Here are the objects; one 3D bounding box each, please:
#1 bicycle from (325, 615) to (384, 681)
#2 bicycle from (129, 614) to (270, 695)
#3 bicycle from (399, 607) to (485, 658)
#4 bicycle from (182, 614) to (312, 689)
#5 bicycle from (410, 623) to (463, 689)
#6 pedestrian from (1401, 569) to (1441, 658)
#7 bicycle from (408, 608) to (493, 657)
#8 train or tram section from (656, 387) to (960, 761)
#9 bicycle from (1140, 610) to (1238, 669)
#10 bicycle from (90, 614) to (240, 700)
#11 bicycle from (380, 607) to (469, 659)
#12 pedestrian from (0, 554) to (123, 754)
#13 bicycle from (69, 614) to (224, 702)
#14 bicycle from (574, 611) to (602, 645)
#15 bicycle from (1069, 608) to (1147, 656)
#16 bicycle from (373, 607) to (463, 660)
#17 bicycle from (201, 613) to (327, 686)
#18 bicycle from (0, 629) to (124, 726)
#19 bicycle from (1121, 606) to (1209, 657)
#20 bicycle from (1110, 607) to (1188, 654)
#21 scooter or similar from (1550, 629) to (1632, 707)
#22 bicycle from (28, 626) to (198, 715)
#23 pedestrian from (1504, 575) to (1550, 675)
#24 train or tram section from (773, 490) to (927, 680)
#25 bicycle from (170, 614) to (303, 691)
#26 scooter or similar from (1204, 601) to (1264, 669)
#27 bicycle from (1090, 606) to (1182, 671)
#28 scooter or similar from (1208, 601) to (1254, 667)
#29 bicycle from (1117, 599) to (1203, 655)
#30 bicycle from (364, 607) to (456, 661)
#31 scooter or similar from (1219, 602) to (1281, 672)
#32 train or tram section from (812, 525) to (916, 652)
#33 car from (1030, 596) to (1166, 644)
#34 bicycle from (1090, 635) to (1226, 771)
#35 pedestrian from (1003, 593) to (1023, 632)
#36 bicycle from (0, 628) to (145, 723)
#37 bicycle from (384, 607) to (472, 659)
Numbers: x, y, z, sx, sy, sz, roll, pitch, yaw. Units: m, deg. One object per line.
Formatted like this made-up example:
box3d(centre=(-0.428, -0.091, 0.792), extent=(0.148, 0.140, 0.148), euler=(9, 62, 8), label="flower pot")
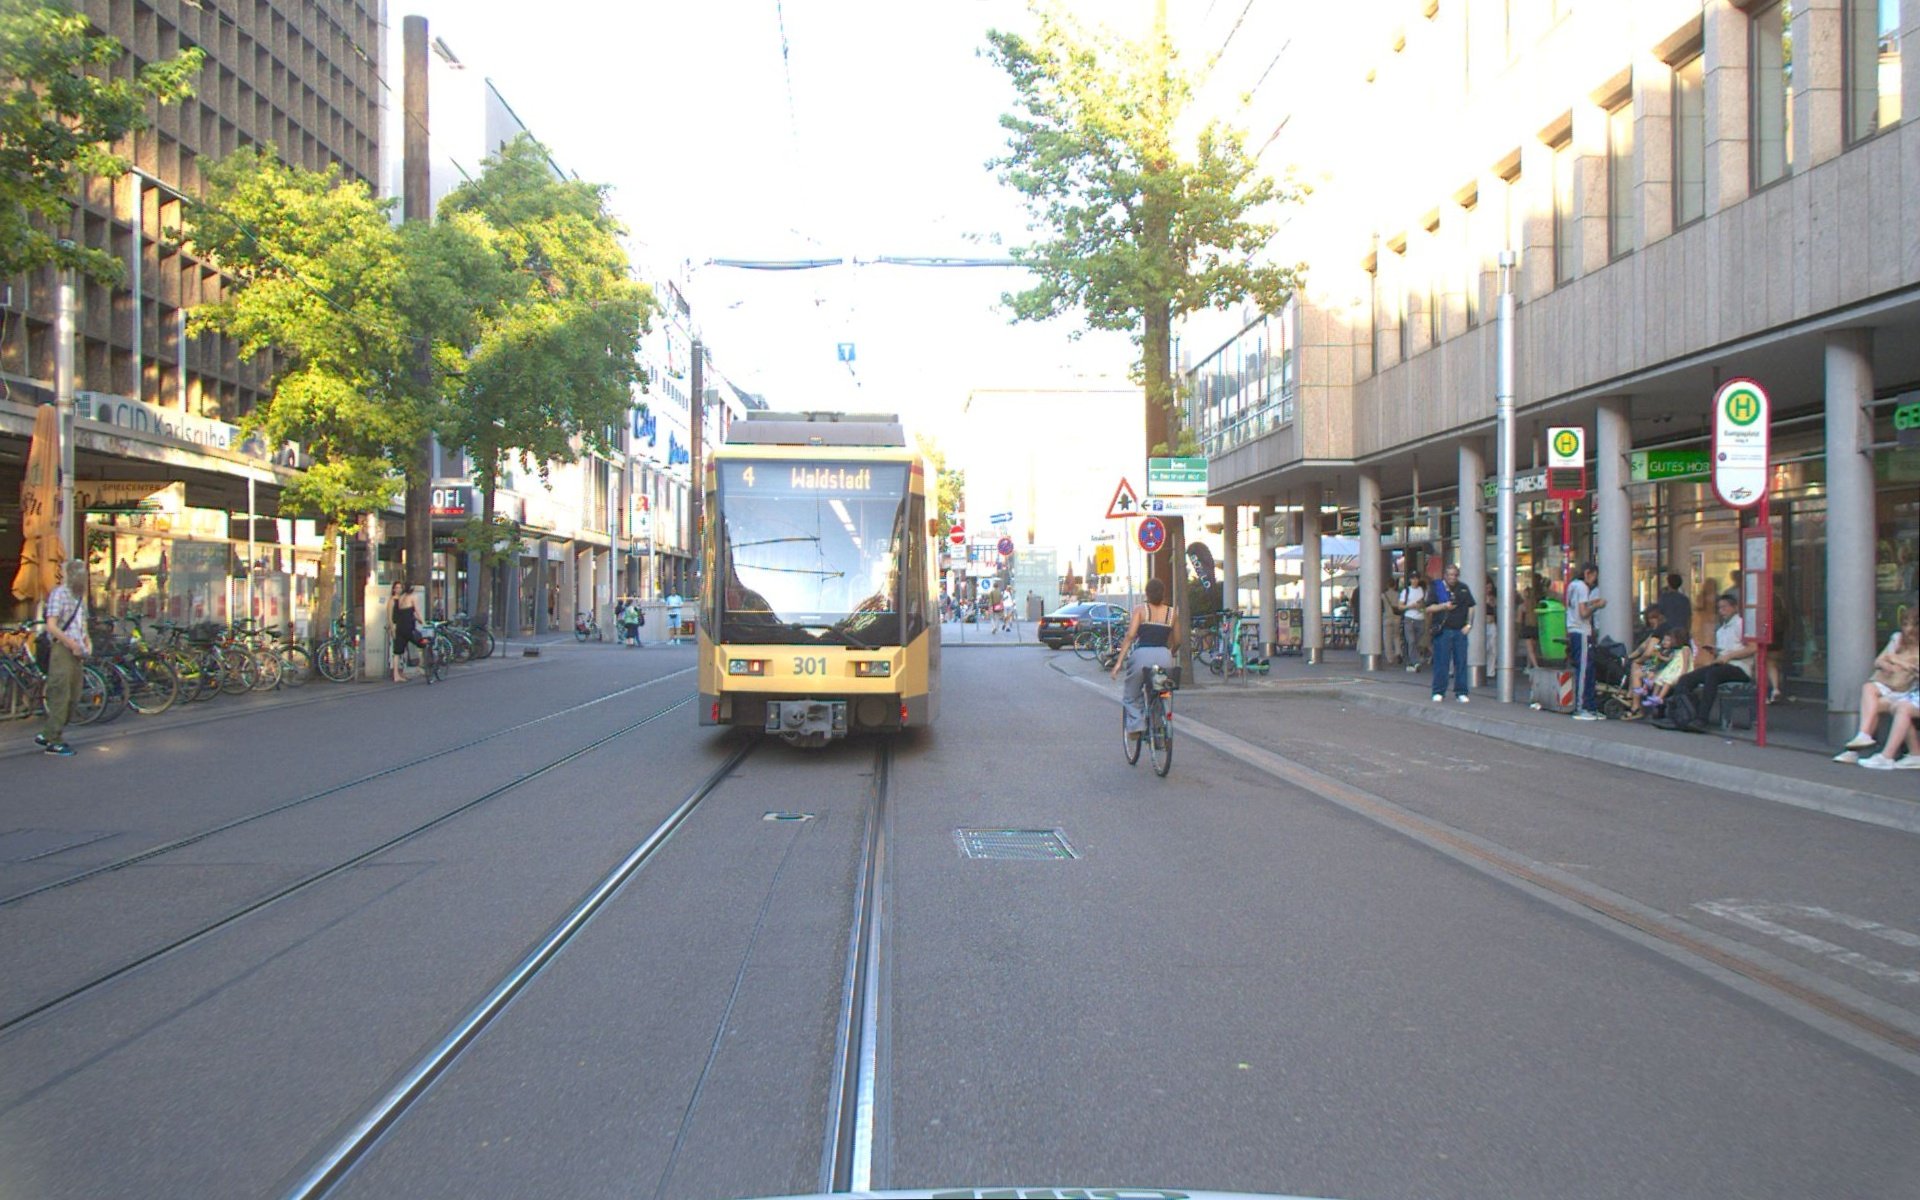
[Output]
box3d(centre=(-10.416, 0.808, 28.504), extent=(0.478, 1.063, 1.776), euler=(1, 0, -5), label="bicycle")
box3d(centre=(-10.916, 0.781, 23.777), extent=(1.738, 1.090, 0.488), euler=(2, 0, -8), label="bicycle")
box3d(centre=(-11.619, 0.727, 37.101), extent=(1.736, 1.063, 0.489), euler=(2, 0, -2), label="bicycle")
box3d(centre=(-10.998, 0.792, 25.539), extent=(1.738, 1.090, 0.488), euler=(2, 0, -8), label="bicycle")
box3d(centre=(-9.082, 0.954, 28.746), extent=(0.478, 1.063, 1.776), euler=(1, 0, -5), label="bicycle")
box3d(centre=(9.883, 0.298, 35.476), extent=(0.649, 1.881, 0.719), euler=(-1, -1, 4), label="pedestrian")
box3d(centre=(-11.603, 0.732, 37.682), extent=(1.736, 1.063, 0.489), euler=(2, 0, -2), label="bicycle")
box3d(centre=(-1.668, -0.254, 22.241), extent=(2.744, 3.377, 14.501), euler=(0, 0, -2), label="train or tram section")
box3d(centre=(4.951, 0.856, 35.866), extent=(1.958, 1.175, 0.724), euler=(-2, 0, -7), label="bicycle")
box3d(centre=(-10.824, 0.773, 22.539), extent=(1.738, 1.090, 0.488), euler=(2, 0, -8), label="bicycle")
box3d(centre=(-11.578, 0.719, 35.799), extent=(1.736, 1.063, 0.489), euler=(2, 0, -2), label="bicycle")
box3d(centre=(-8.569, 0.493, 15.715), extent=(0.973, 1.824, 0.817), euler=(0, -1, 44), label="pedestrian")
box3d(centre=(-10.784, 0.769, 21.963), extent=(1.738, 1.090, 0.488), euler=(2, 0, -8), label="bicycle")
box3d(centre=(-13.230, 0.987, 58.865), extent=(0.488, 1.127, 1.801), euler=(0, 1, 3), label="bicycle")
box3d(centre=(3.666, 0.783, 40.955), extent=(1.816, 1.128, 0.666), euler=(-1, 0, -5), label="bicycle")
box3d(centre=(-11.535, 0.715, 35.222), extent=(1.736, 1.063, 0.489), euler=(2, 0, -2), label="bicycle")
box3d(centre=(-11.011, 0.783, 26.192), extent=(1.738, 1.090, 0.488), euler=(2, 0, -8), label="bicycle")
box3d(centre=(-10.178, 0.837, 18.108), extent=(1.738, 1.007, 0.489), euler=(2, 1, -8), label="bicycle")
box3d(centre=(4.804, 0.728, 38.803), extent=(1.878, 1.096, 0.762), euler=(-2, 0, -7), label="bicycle")
box3d(centre=(4.709, 0.752, 41.267), extent=(1.816, 1.128, 0.666), euler=(-1, 0, -5), label="bicycle")
box3d(centre=(7.645, 0.819, 20.061), extent=(0.815, 0.899, 0.687), euler=(1, -1, 12), label="scooter or similar")
box3d(centre=(-10.247, 0.850, 20.046), extent=(1.738, 1.007, 0.489), euler=(2, 1, -8), label="bicycle")
box3d(centre=(10.141, 0.445, 29.570), extent=(0.559, 1.762, 0.617), euler=(-1, 0, -3), label="pedestrian")
box3d(centre=(-2.255, -0.291, 36.764), extent=(2.744, 3.377, 14.501), euler=(0, 0, -2), label="train or tram section")
box3d(centre=(-10.925, 0.789, 24.997), extent=(1.738, 1.090, 0.488), euler=(2, 0, -8), label="bicycle")
box3d(centre=(5.348, 0.672, 32.266), extent=(1.176, 1.273, 0.389), euler=(-1, 0, -32), label="scooter or similar")
box3d(centre=(3.902, 0.848, 36.706), extent=(1.878, 1.356, 0.724), euler=(-2, 0, -7), label="bicycle")
box3d(centre=(5.391, 0.663, 32.857), extent=(0.385, 1.273, 1.187), euler=(-1, 1, 36), label="scooter or similar")
box3d(centre=(4.781, 0.640, 39.549), extent=(1.878, 1.244, 0.762), euler=(-2, 0, -7), label="bicycle")
box3d(centre=(-11.517, 0.711, 34.651), extent=(1.736, 1.063, 0.489), euler=(2, 0, -2), label="bicycle")
box3d(centre=(5.503, 0.686, 31.337), extent=(1.102, 1.273, 0.491), euler=(-1, 0, -33), label="scooter or similar")
box3d(centre=(-2.850, -0.328, 51.283), extent=(2.744, 3.377, 14.501), euler=(0, 0, -2), label="train or tram section")
box3d(centre=(4.265, 0.636, 50.809), extent=(4.006, 1.434, 1.753), euler=(1, -1, -36), label="car")
box3d(centre=(1.777, 0.906, 15.191), extent=(0.799, 1.092, 2.111), euler=(2, 0, -5), label="bicycle")
box3d(centre=(2.530, 0.608, 78.731), extent=(0.722, 1.855, 0.816), euler=(0, 0, -17), label="pedestrian")
box3d(centre=(-10.205, 0.840, 18.636), extent=(1.738, 1.007, 0.489), euler=(2, 1, -8), label="bicycle")
box3d(centre=(-11.583, 0.720, 36.041), extent=(1.736, 1.063, 0.489), euler=(2, 0, -2), label="bicycle")
